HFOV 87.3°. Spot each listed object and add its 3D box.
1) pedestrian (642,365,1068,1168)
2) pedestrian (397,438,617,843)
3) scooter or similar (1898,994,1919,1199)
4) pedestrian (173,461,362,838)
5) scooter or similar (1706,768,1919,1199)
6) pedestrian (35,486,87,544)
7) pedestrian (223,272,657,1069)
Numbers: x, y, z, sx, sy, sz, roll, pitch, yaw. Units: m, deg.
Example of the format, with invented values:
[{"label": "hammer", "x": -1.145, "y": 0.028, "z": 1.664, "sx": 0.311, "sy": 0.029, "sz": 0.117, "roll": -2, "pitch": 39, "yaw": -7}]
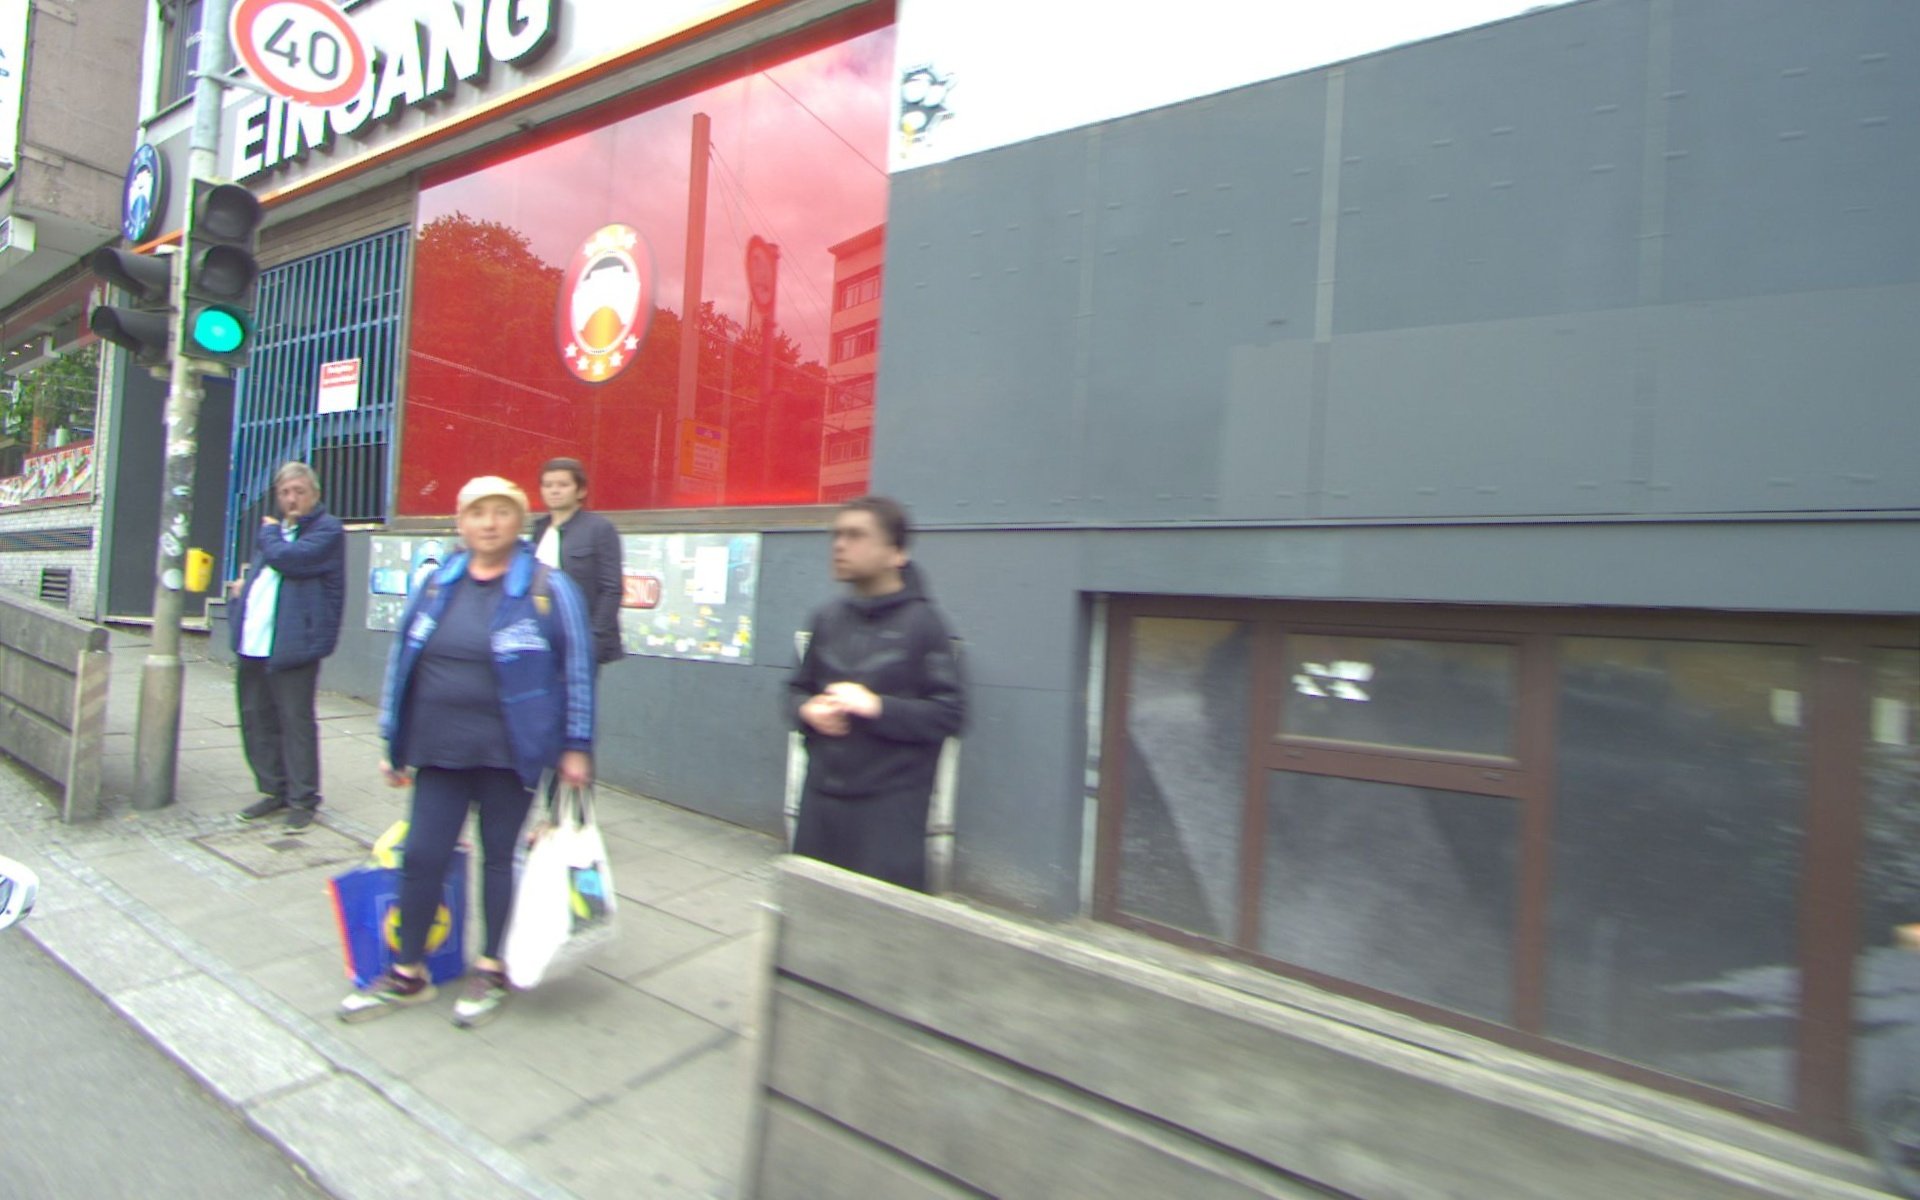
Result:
[{"label": "pedestrian", "x": -0.256, "y": 0.380, "z": 2.749, "sx": 0.644, "sy": 1.815, "sz": 0.738, "roll": 6, "pitch": -1, "yaw": 33}, {"label": "pedestrian", "x": -2.248, "y": 0.167, "z": 5.008, "sx": 0.643, "sy": 1.834, "sz": 0.726, "roll": 6, "pitch": 5, "yaw": 33}, {"label": "scooter or similar", "x": 3.046, "y": 1.038, "z": 2.431, "sx": 0.964, "sy": 1.292, "sz": 0.428, "roll": 7, "pitch": 1, "yaw": 33}, {"label": "pedestrian", "x": -3.322, "y": 0.203, "z": 4.847, "sx": 0.581, "sy": 1.676, "sz": 0.561, "roll": 6, "pitch": 6, "yaw": 32}, {"label": "scooter or similar", "x": 1.474, "y": 0.939, "z": 1.280, "sx": 0.800, "sy": 1.292, "sz": 0.354, "roll": 7, "pitch": 1, "yaw": 31}, {"label": "pedestrian", "x": -31.386, "y": -2.942, "z": 35.144, "sx": 0.829, "sy": 1.828, "sz": 1.141, "roll": 14, "pitch": -4, "yaw": -30}, {"label": "pedestrian", "x": -1.641, "y": 0.179, "z": 3.221, "sx": 0.766, "sy": 2.092, "sz": 0.945, "roll": 6, "pitch": 5, "yaw": 33}]
